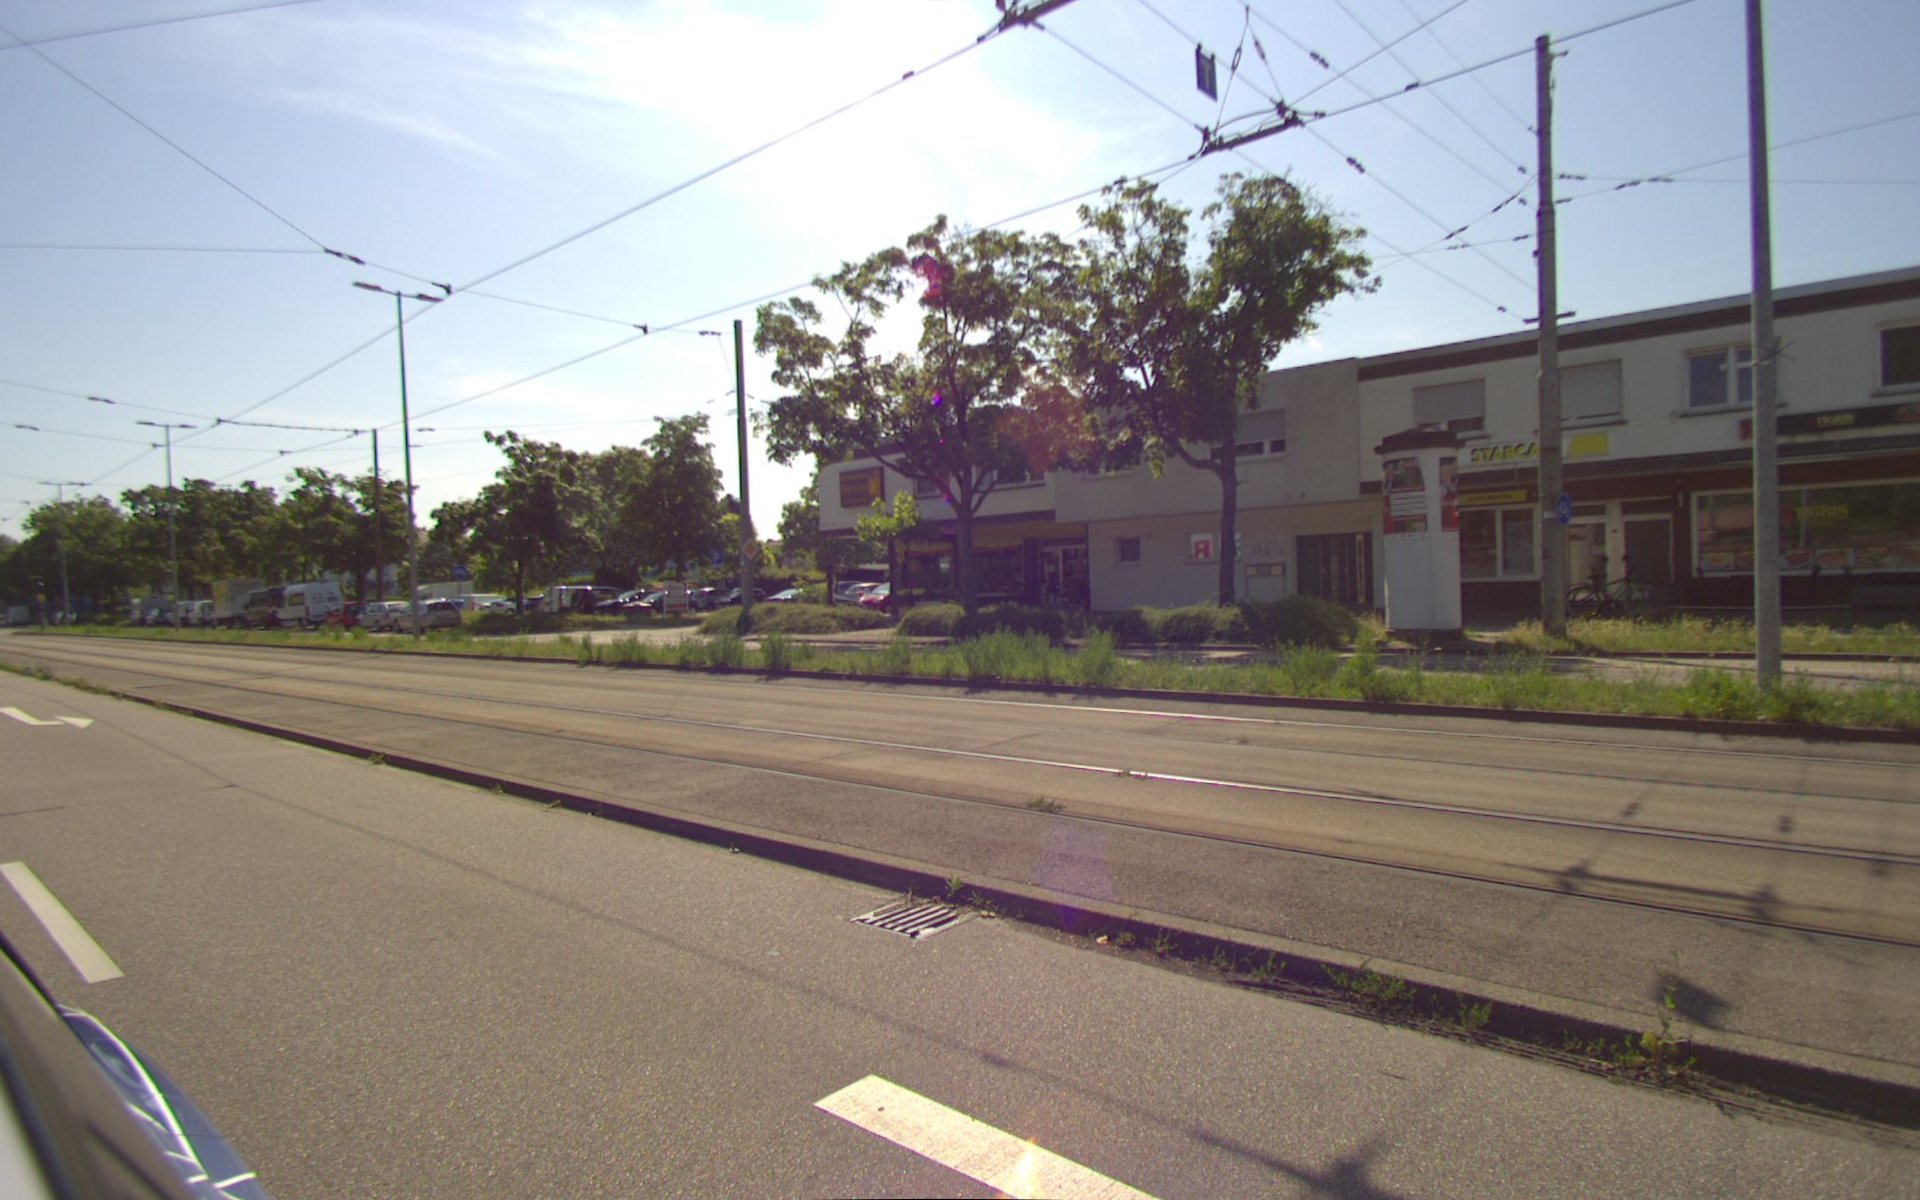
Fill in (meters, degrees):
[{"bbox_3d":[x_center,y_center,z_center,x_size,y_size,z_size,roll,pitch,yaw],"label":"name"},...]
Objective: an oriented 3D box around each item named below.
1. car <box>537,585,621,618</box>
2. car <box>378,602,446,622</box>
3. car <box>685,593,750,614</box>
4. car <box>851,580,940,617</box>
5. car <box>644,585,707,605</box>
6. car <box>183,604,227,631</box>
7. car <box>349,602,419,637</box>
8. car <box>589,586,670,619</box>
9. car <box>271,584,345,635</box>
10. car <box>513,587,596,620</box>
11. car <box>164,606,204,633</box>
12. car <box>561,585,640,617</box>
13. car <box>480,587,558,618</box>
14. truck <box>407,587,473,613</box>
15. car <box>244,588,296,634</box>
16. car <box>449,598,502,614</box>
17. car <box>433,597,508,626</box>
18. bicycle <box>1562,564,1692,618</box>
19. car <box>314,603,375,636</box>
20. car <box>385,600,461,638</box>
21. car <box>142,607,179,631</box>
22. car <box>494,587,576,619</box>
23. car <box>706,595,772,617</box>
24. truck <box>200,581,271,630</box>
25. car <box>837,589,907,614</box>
[{"bbox_3d":[-21.807,0.054,58.000,1.988,1.751,4.068,-1,1,38],"label":"car"},{"bbox_3d":[-41.803,0.906,77.255,1.676,1.345,4.198,-1,1,41],"label":"car"},{"bbox_3d":[-16.969,0.236,71.023,1.676,1.345,4.197,-1,1,42],"label":"car"},{"bbox_3d":[-2.993,-0.091,47.791,1.676,1.616,4.197,-1,1,42],"label":"car"},{"bbox_3d":[-20.901,-0.380,74.430,1.674,1.345,4.201,-1,1,39],"label":"car"},{"bbox_3d":[-54.434,1.265,72.906,4.631,1.817,1.483,-1,4,41],"label":"car"},{"bbox_3d":[-28.981,0.964,50.865,4.255,1.544,1.654,-1,4,41],"label":"car"},{"bbox_3d":[-17.708,0.129,54.244,1.676,1.646,3.761,-1,1,42],"label":"car"},{"bbox_3d":[-37.043,0.558,57.437,5.201,2.673,2.036,-1,4,41],"label":"car"},{"bbox_3d":[-23.781,0.193,59.482,1.988,1.751,4.068,-1,1,38],"label":"car"},{"bbox_3d":[-59.507,1.506,77.616,4.056,1.859,1.484,-1,4,40],"label":"car"},{"bbox_3d":[-19.980,0.050,56.280,1.676,1.646,3.761,-1,1,42],"label":"car"},{"bbox_3d":[-27.768,0.140,63.815,1.988,1.751,4.068,-1,1,38],"label":"car"},{"bbox_3d":[-52.737,-0.003,102.662,1.988,2.398,5.584,-1,1,38],"label":"truck"},{"bbox_3d":[-41.914,0.682,61.411,4.005,2.643,1.483,-1,4,41],"label":"car"},{"bbox_3d":[-45.667,0.533,95.458,1.676,1.345,4.198,-1,1,41],"label":"car"},{"bbox_3d":[-33.038,0.785,68.237,5.739,1.825,2.560,-1,1,42],"label":"car"},{"bbox_3d":[14.930,-0.177,22.693,2.333,1.161,0.779,-1,-1,42],"label":"bicycle"},{"bbox_3d":[-32.882,1.049,54.024,3.791,1.544,1.654,-1,4,41],"label":"car"},{"bbox_3d":[-25.089,0.897,47.206,4.255,1.544,1.654,-1,4,41],"label":"car"},{"bbox_3d":[-64.140,1.512,81.194,3.685,1.799,1.484,-1,4,40],"label":"car"},{"bbox_3d":[-25.648,0.174,61.157,1.988,1.751,4.068,-1,1,38],"label":"car"},{"bbox_3d":[-15.112,0.424,69.345,1.676,1.345,4.197,-1,1,42],"label":"car"},{"bbox_3d":[-48.197,0.373,67.290,5.902,2.956,2.476,-1,4,42],"label":"truck"},{"bbox_3d":[-5.305,0.061,61.443,1.676,1.345,4.197,-1,1,42],"label":"car"}]
